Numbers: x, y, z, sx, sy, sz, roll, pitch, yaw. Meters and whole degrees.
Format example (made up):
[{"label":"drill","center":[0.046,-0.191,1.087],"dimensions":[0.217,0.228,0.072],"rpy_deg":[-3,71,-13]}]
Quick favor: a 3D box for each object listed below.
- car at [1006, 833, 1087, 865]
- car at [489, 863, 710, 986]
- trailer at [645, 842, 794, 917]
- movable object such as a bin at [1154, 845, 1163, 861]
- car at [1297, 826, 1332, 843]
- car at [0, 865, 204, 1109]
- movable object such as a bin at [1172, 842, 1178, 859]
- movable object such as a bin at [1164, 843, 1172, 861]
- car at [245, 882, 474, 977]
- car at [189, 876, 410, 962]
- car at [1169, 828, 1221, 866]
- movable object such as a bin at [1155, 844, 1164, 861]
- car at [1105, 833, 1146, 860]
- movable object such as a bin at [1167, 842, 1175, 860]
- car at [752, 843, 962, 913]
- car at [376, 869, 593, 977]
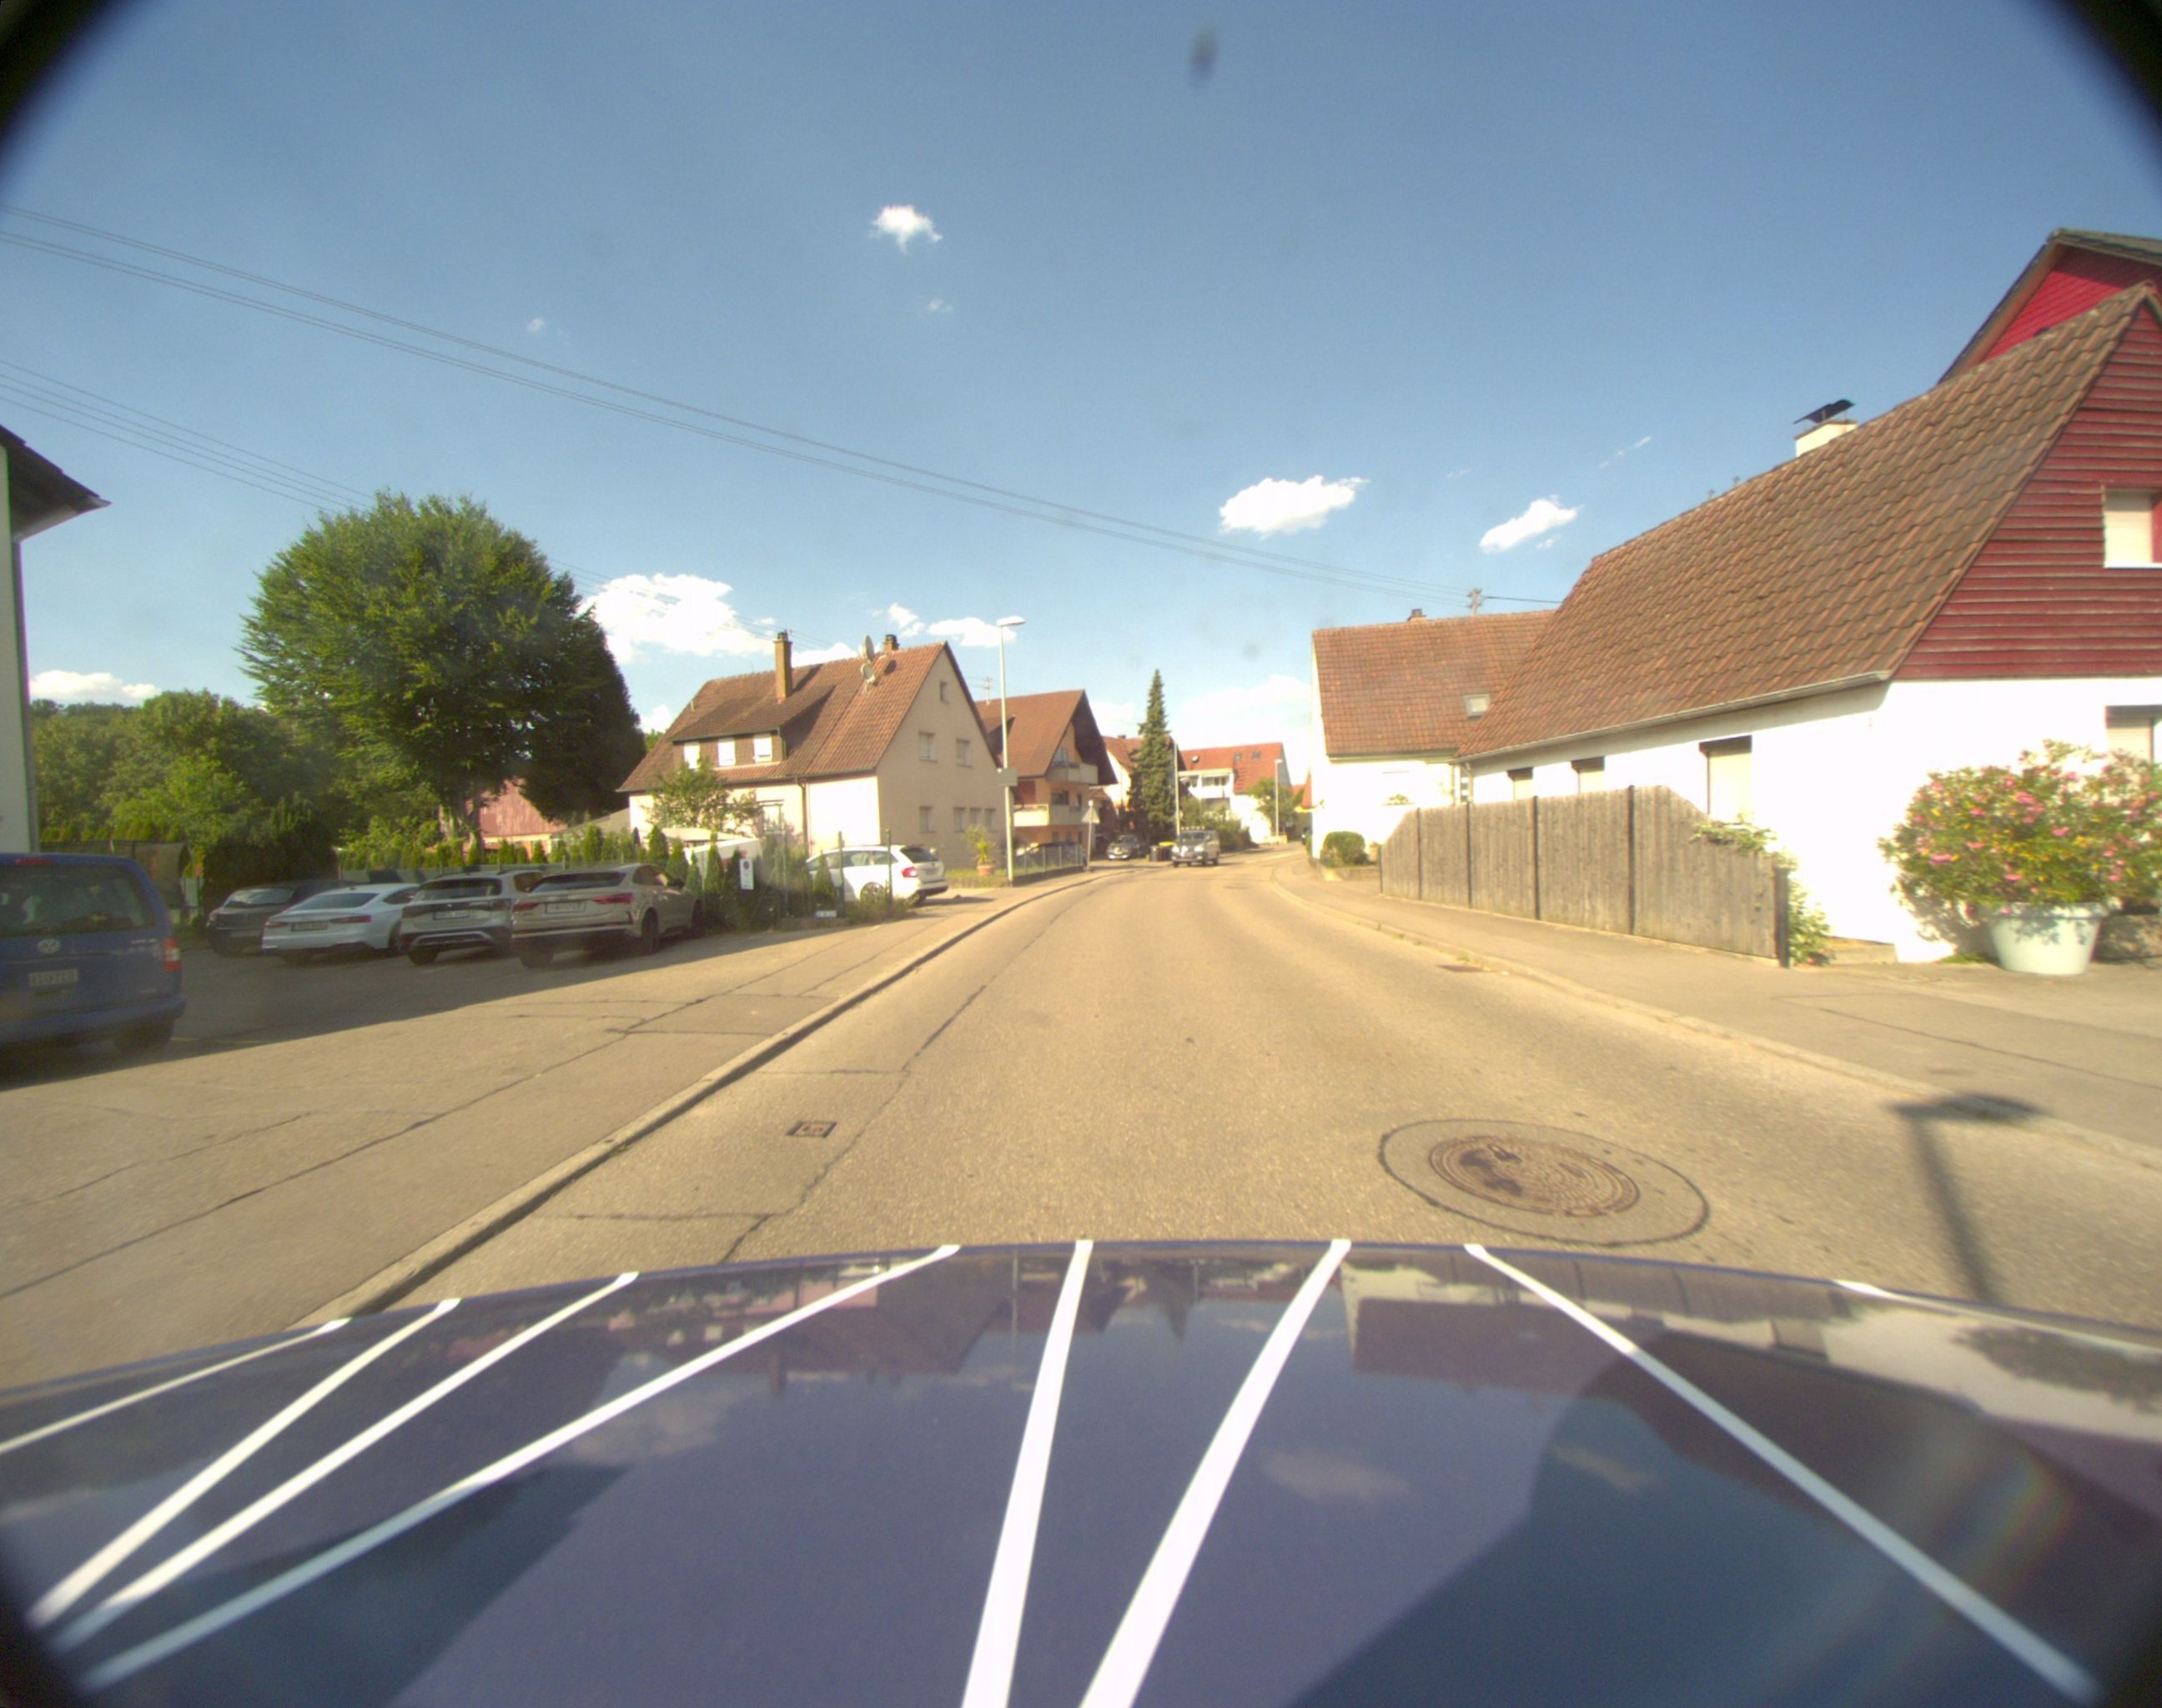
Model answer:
[{"label":"car","center":[-1.689,-0.218,36.996],"dimensions":[3.690,1.427,1.438],"rpy_deg":[-2,1,27]},{"label":"car","center":[-8.076,1.050,13.272],"dimensions":[1.700,1.511,4.271],"rpy_deg":[-5,2,-11]},{"label":"trailer","center":[-9.288,0.600,19.757],"dimensions":[1.522,1.742,3.222],"rpy_deg":[-1,1,23]},{"label":"movable object such as a bin","center":[4.604,-0.066,45.068],"dimensions":[0.391,0.975,0.351],"rpy_deg":[-1,1,23]},{"label":"car","center":[23.606,-2.025,76.752],"dimensions":[1.968,1.647,4.008],"rpy_deg":[2,3,39]},{"label":"car","center":[-10.081,1.079,6.522],"dimensions":[4.205,1.777,1.769],"rpy_deg":[-2,2,19]},{"label":"movable object such as a bin","center":[5.910,-0.223,47.716],"dimensions":[0.294,1.103,0.387],"rpy_deg":[-1,1,23]},{"label":"movable object such as a bin","center":[5.351,-0.123,46.647],"dimensions":[0.382,1.103,0.375],"rpy_deg":[-1,1,23]},{"label":"car","center":[-14.384,1.409,15.470],"dimensions":[1.680,1.400,3.672],"rpy_deg":[-3,2,-13]},{"label":"car","center":[-17.231,1.346,17.029],"dimensions":[1.680,1.492,3.672],"rpy_deg":[-1,1,-13]},{"label":"car","center":[6.443,-0.418,42.388],"dimensions":[1.817,1.989,4.827],"rpy_deg":[-1,1,21]},{"label":"movable object such as a bin","center":[4.724,-0.099,45.681],"dimensions":[0.391,0.975,0.351],"rpy_deg":[-1,1,23]},{"label":"car","center":[2.837,-0.483,47.839],"dimensions":[1.644,1.508,3.804],"rpy_deg":[-2,3,17]},{"label":"movable object such as a bin","center":[5.577,-0.204,47.052],"dimensions":[0.335,1.103,0.440],"rpy_deg":[-1,1,23]},{"label":"car","center":[-5.206,0.557,17.697],"dimensions":[4.469,1.450,1.733],"rpy_deg":[-2,2,20]},{"label":"car","center":[-11.123,1.179,14.539],"dimensions":[1.766,1.536,3.672],"rpy_deg":[-4,2,-13]}]
